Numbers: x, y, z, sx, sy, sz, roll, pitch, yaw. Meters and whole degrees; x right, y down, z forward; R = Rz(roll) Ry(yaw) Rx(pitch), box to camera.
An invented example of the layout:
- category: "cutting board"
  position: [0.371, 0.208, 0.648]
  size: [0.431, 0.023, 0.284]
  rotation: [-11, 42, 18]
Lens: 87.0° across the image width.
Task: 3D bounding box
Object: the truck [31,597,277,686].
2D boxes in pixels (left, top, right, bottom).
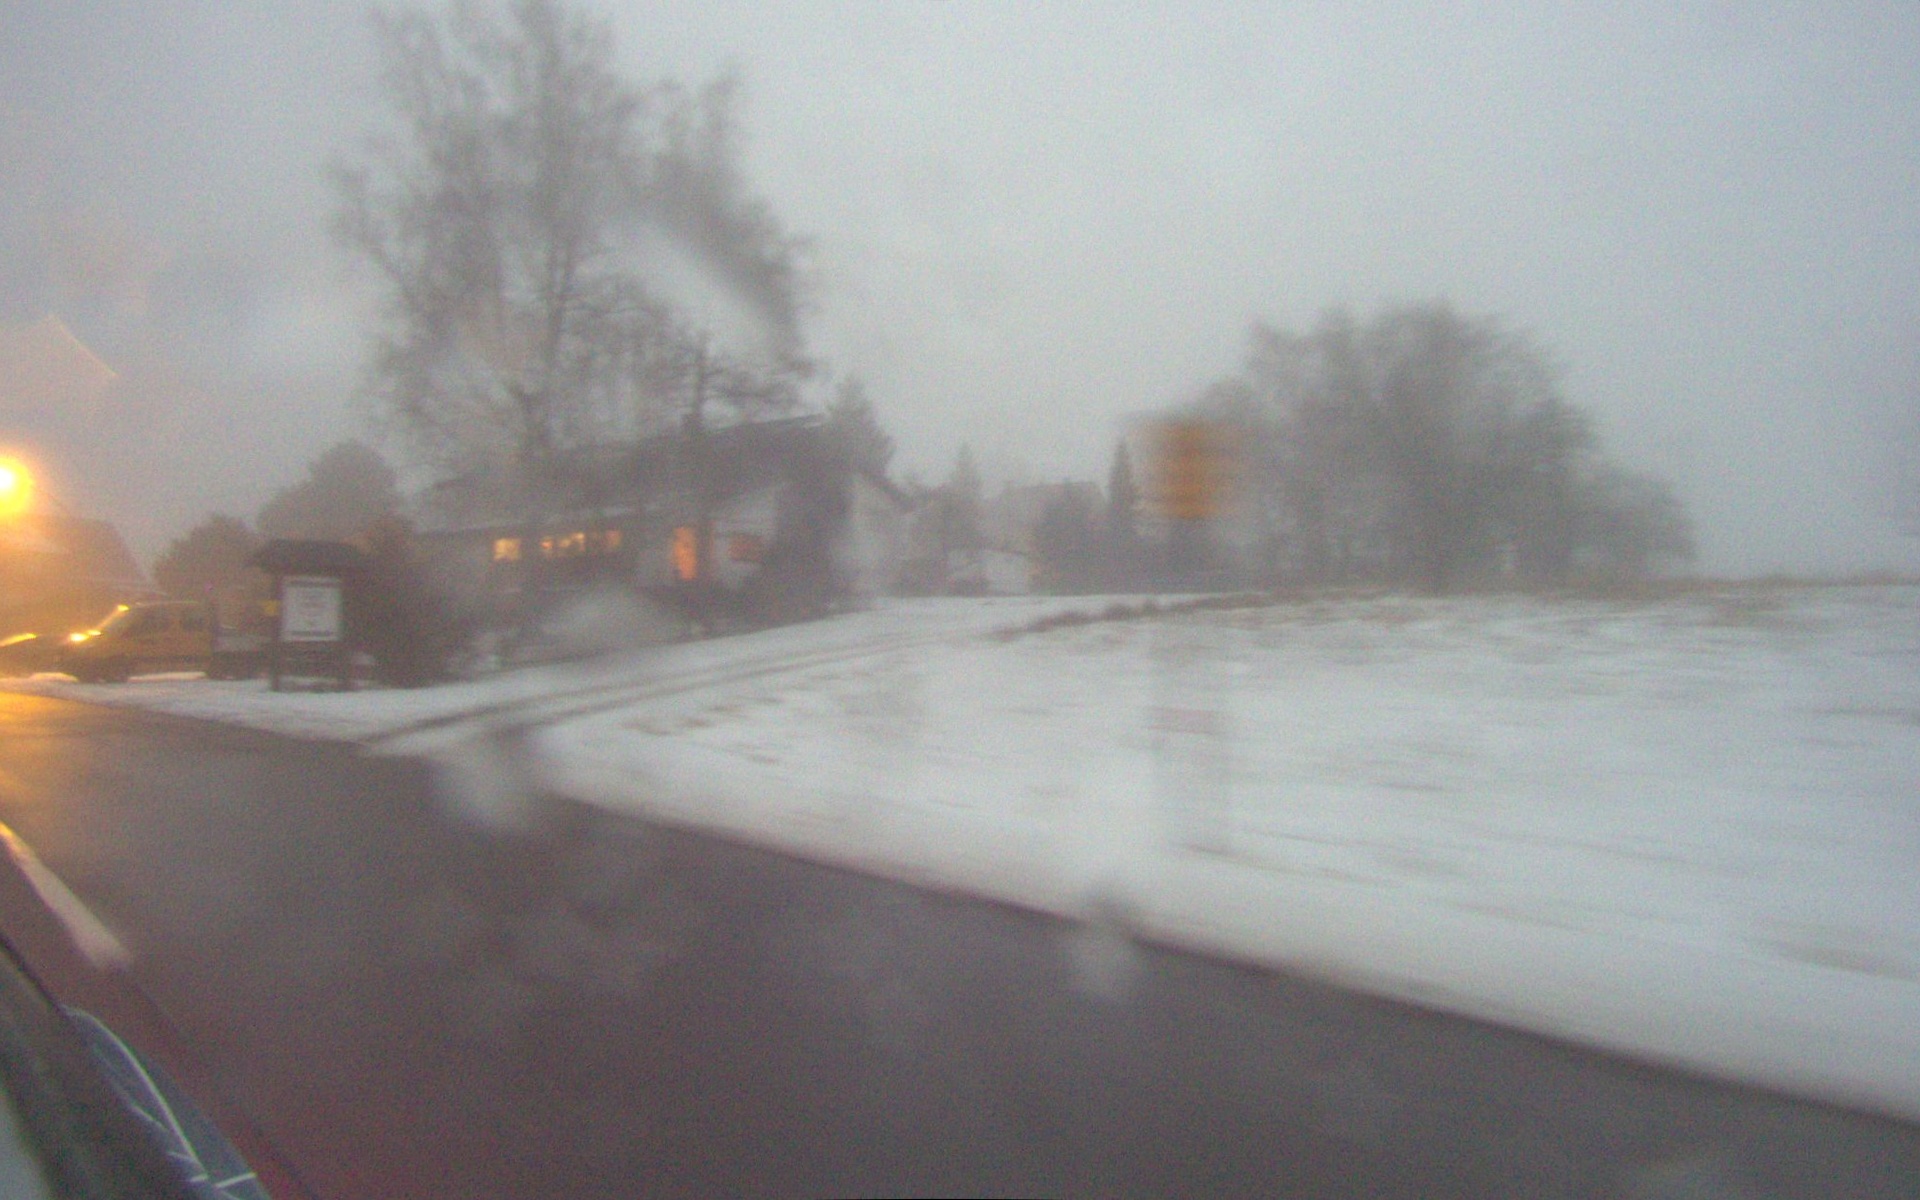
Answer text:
- category: "truck"
  position: [-23.286, 1.286, 29.527]
  size: [1.990, 2.320, 5.228]
  rotation: [-3, -5, 28]

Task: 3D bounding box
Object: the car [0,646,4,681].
- category: "car"
  position: [-42.660, 2.662, 42.030]
  size: [1.927, 1.483, 3.834]
  rotation: [-3, -4, 24]

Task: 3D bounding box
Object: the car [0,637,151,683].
- category: "car"
  position: [-31.378, 2.101, 34.995]
  size: [2.114, 1.496, 4.855]
  rotation: [-3, -5, 28]
